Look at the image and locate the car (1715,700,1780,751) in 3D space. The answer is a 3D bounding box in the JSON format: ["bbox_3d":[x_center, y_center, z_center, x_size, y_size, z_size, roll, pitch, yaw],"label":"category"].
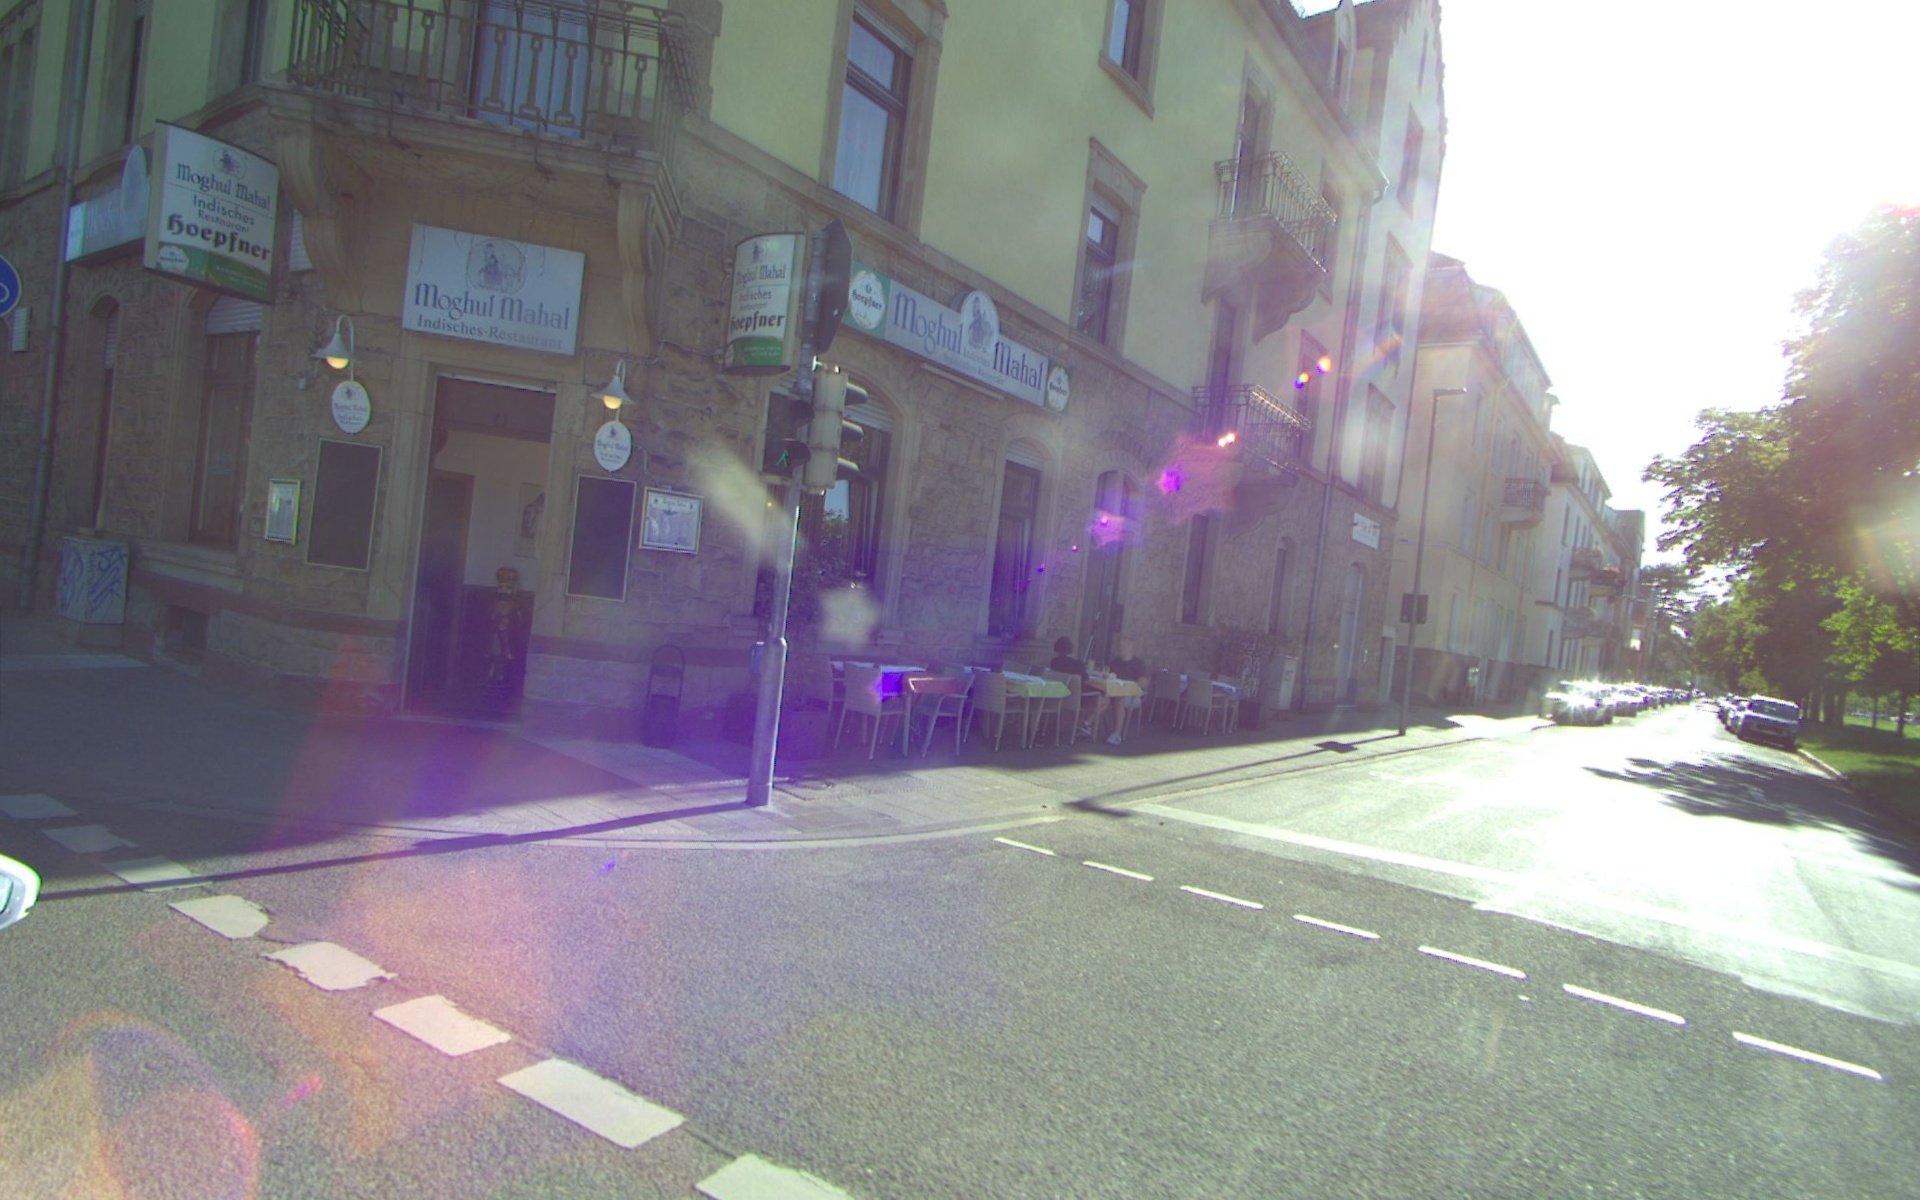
[{"bbox_3d":[34.980,5.586,44.775,1.898,1.903,4.056,8,-1,37],"label":"car"}]

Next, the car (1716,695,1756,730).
[{"bbox_3d":[53.145,7.734,68.966,1.899,2.055,4.648,8,-1,38],"label":"car"}]

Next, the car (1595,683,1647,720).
[{"bbox_3d":[34.140,5.265,51.921,1.710,1.504,3.692,8,-1,40],"label":"car"}]

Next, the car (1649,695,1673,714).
[{"bbox_3d":[71.642,10.685,102.817,1.709,1.622,3.694,8,-1,38],"label":"car"}]

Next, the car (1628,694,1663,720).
[{"bbox_3d":[52.632,8.228,77.178,1.710,1.623,3.692,8,-1,40],"label":"car"}]

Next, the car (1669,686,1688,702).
[{"bbox_3d":[90.074,11.808,126.125,1.709,1.622,3.694,8,-1,38],"label":"car"}]

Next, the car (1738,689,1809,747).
[{"bbox_3d":[32.153,4.683,39.755,1.900,1.904,3.691,8,-1,40],"label":"car"}]

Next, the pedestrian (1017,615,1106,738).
[{"bbox_3d":[1.240,0.936,12.268,0.690,1.376,0.639,8,0,36],"label":"pedestrian"}]

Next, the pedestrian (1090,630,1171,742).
[{"bbox_3d":[2.286,1.156,13.487,0.690,1.376,0.639,8,0,36],"label":"pedestrian"}]

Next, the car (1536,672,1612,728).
[{"bbox_3d":[22.950,3.751,37.556,1.800,1.624,3.841,10,0,38],"label":"car"}]

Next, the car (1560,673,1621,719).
[{"bbox_3d":[26.075,3.986,41.539,1.708,1.530,3.695,8,-1,37],"label":"car"}]

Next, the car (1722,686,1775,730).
[{"bbox_3d":[41.607,5.722,53.151,1.898,1.904,3.695,8,-1,37],"label":"car"}]
